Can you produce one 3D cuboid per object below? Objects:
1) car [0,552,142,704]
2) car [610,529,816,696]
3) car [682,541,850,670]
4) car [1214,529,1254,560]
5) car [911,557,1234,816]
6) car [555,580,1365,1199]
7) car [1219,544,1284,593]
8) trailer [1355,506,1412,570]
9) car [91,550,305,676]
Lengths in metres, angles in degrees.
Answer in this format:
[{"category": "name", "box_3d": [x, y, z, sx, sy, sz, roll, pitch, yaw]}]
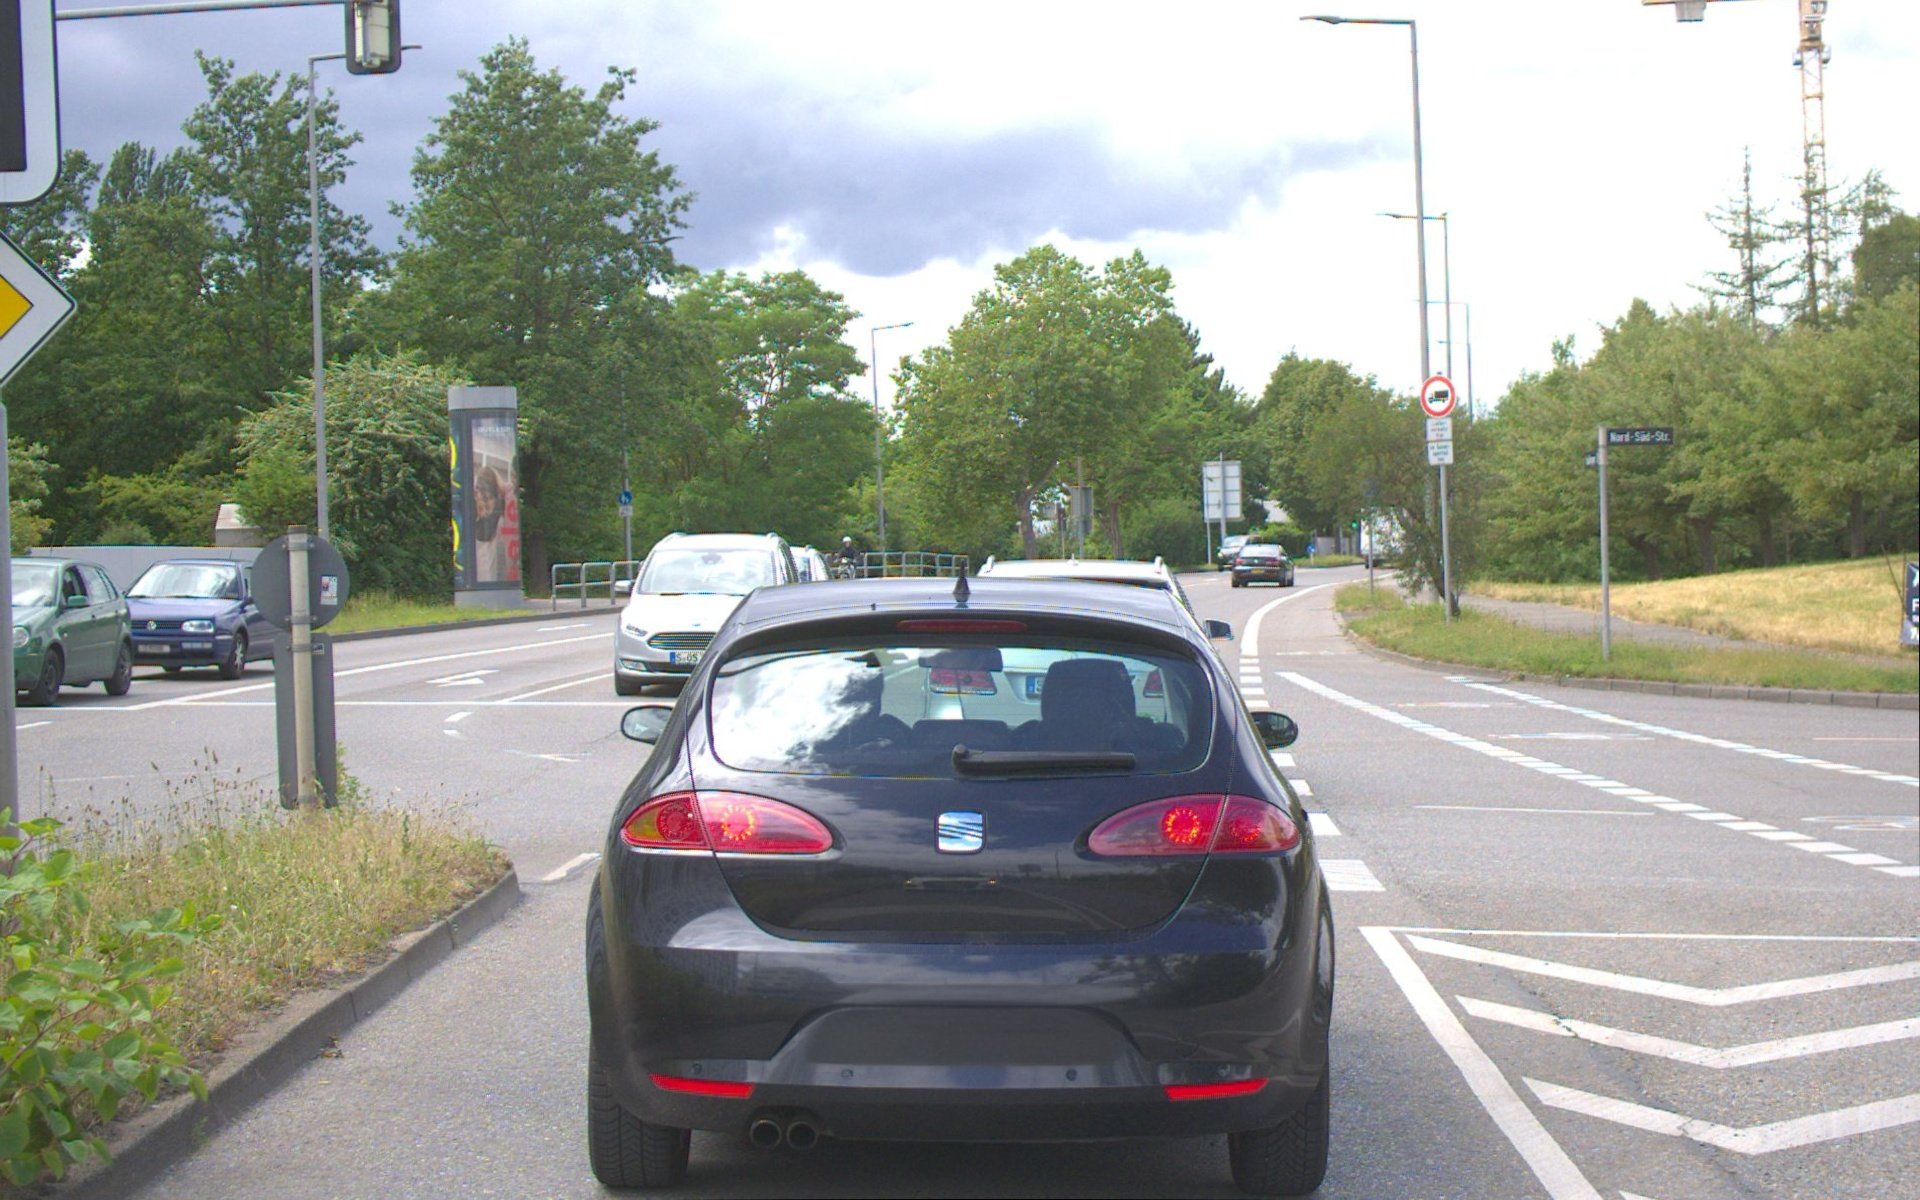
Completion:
[{"category": "car", "box_3d": [-9.511, 0.244, 34.541, 1.605, 1.427, 3.752, 0, 1, 1]}, {"category": "car", "box_3d": [-2.622, 0.082, 37.435, 1.820, 1.681, 4.645, 1, 1, 1]}, {"category": "car", "box_3d": [-2.398, 0.034, 43.415, 1.660, 1.513, 4.084, 1, 1, 3]}, {"category": "car", "box_3d": [14.697, -2.960, 184.398, 1.715, 1.576, 3.740, 1, 0, 11]}, {"category": "car", "box_3d": [0.655, 0.483, 21.582, 1.834, 1.462, 3.751, 1, 0, 0]}, {"category": "car", "box_3d": [-0.022, 0.680, 9.035, 1.711, 1.412, 3.459, 0, 1, -1]}, {"category": "car", "box_3d": [9.731, -1.065, 114.640, 1.994, 1.560, 4.470, 0, 1, 7]}, {"category": "trailer", "box_3d": [21.103, -3.066, 170.997, 2.492, 3.063, 5.584, 1, 0, 10]}, {"category": "car", "box_3d": [-9.105, 0.122, 41.364, 1.554, 1.414, 3.895, 0, 1, 3]}]
